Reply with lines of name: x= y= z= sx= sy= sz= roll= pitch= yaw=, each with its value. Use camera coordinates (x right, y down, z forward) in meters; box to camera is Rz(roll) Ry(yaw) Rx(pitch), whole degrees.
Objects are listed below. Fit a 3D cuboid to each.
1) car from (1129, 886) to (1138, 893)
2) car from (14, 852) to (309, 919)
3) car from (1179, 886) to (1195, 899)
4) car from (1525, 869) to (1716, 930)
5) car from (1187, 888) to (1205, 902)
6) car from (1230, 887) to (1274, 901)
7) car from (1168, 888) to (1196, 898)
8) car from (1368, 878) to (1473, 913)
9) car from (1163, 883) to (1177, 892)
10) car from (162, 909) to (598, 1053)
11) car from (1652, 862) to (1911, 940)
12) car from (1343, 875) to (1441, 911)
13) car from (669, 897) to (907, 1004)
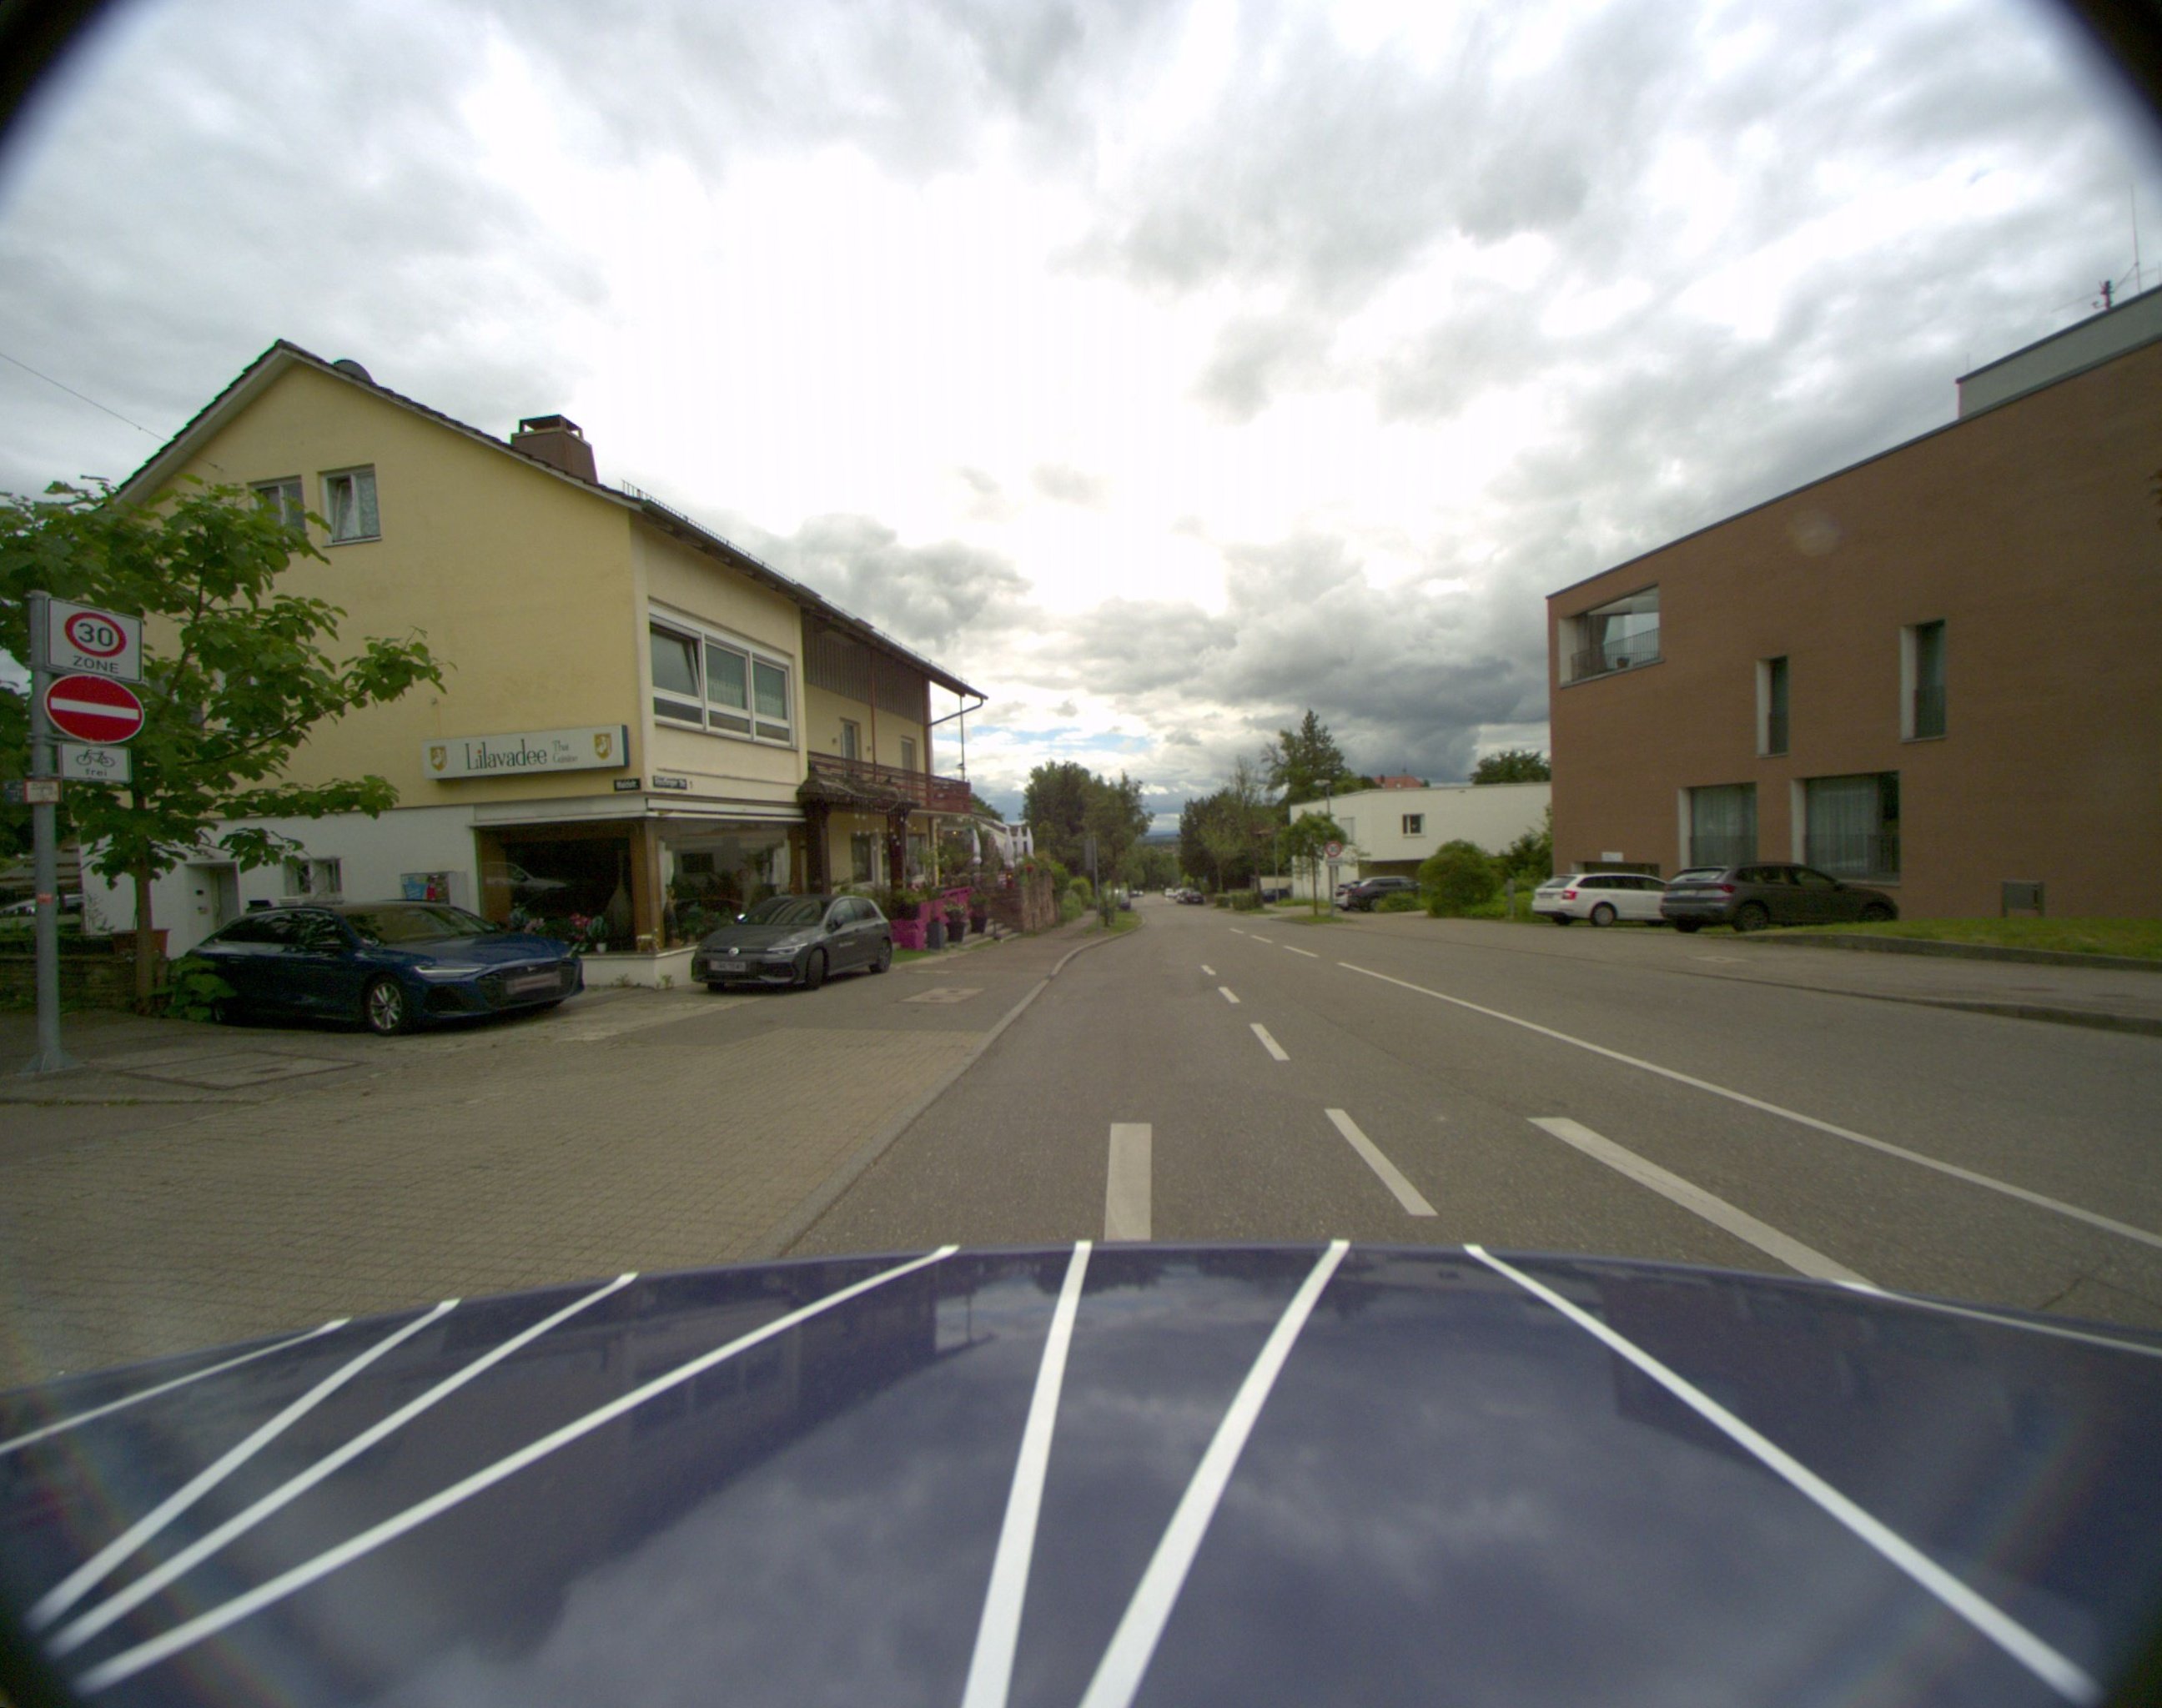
car: x=12.754 y=8.558 z=183.631 sx=1.883 sy=1.412 sz=4.369 roll=-1 pitch=-1 yaw=1
car: x=-22.730 y=0.832 z=19.054 sx=1.795 sy=1.452 sz=4.336 roll=-2 pitch=-4 yaw=22
car: x=12.486 y=4.543 z=89.583 sx=1.661 sy=1.412 sz=4.372 roll=-2 pitch=-3 yaw=6
car: x=14.609 y=1.231 z=20.720 sx=3.998 sy=1.476 sz=1.727 roll=-1 pitch=-3 yaw=-3
car: x=12.170 y=4.288 z=80.586 sx=1.661 sy=1.412 sz=4.004 roll=-2 pitch=-3 yaw=6
car: x=16.537 y=3.874 z=73.737 sx=3.995 sy=1.278 sz=1.665 roll=-2 pitch=-3 yaw=7
car: x=15.832 y=6.161 z=119.513 sx=3.999 sy=1.476 sz=1.726 roll=-1 pitch=-3 yaw=-7
car: x=15.594 y=1.890 z=35.043 sx=3.996 sy=1.476 sz=1.728 roll=-2 pitch=-3 yaw=3
car: x=16.192 y=6.053 z=137.981 sx=1.884 sy=1.412 sz=4.368 roll=-1 pitch=-1 yaw=-2
car: x=-8.534 y=1.413 z=9.295 sx=4.739 sy=1.378 sz=1.802 roll=-2 pitch=-1 yaw=18
car: x=14.911 y=0.987 z=16.311 sx=3.998 sy=1.476 sz=1.727 roll=-1 pitch=-3 yaw=-3
car: x=15.048 y=1.889 z=36.885 sx=3.996 sy=1.585 sz=1.795 roll=-2 pitch=-3 yaw=3
car: x=-4.549 y=1.474 z=12.632 sx=1.796 sy=1.452 sz=4.332 roll=-1 pitch=-4 yaw=8
